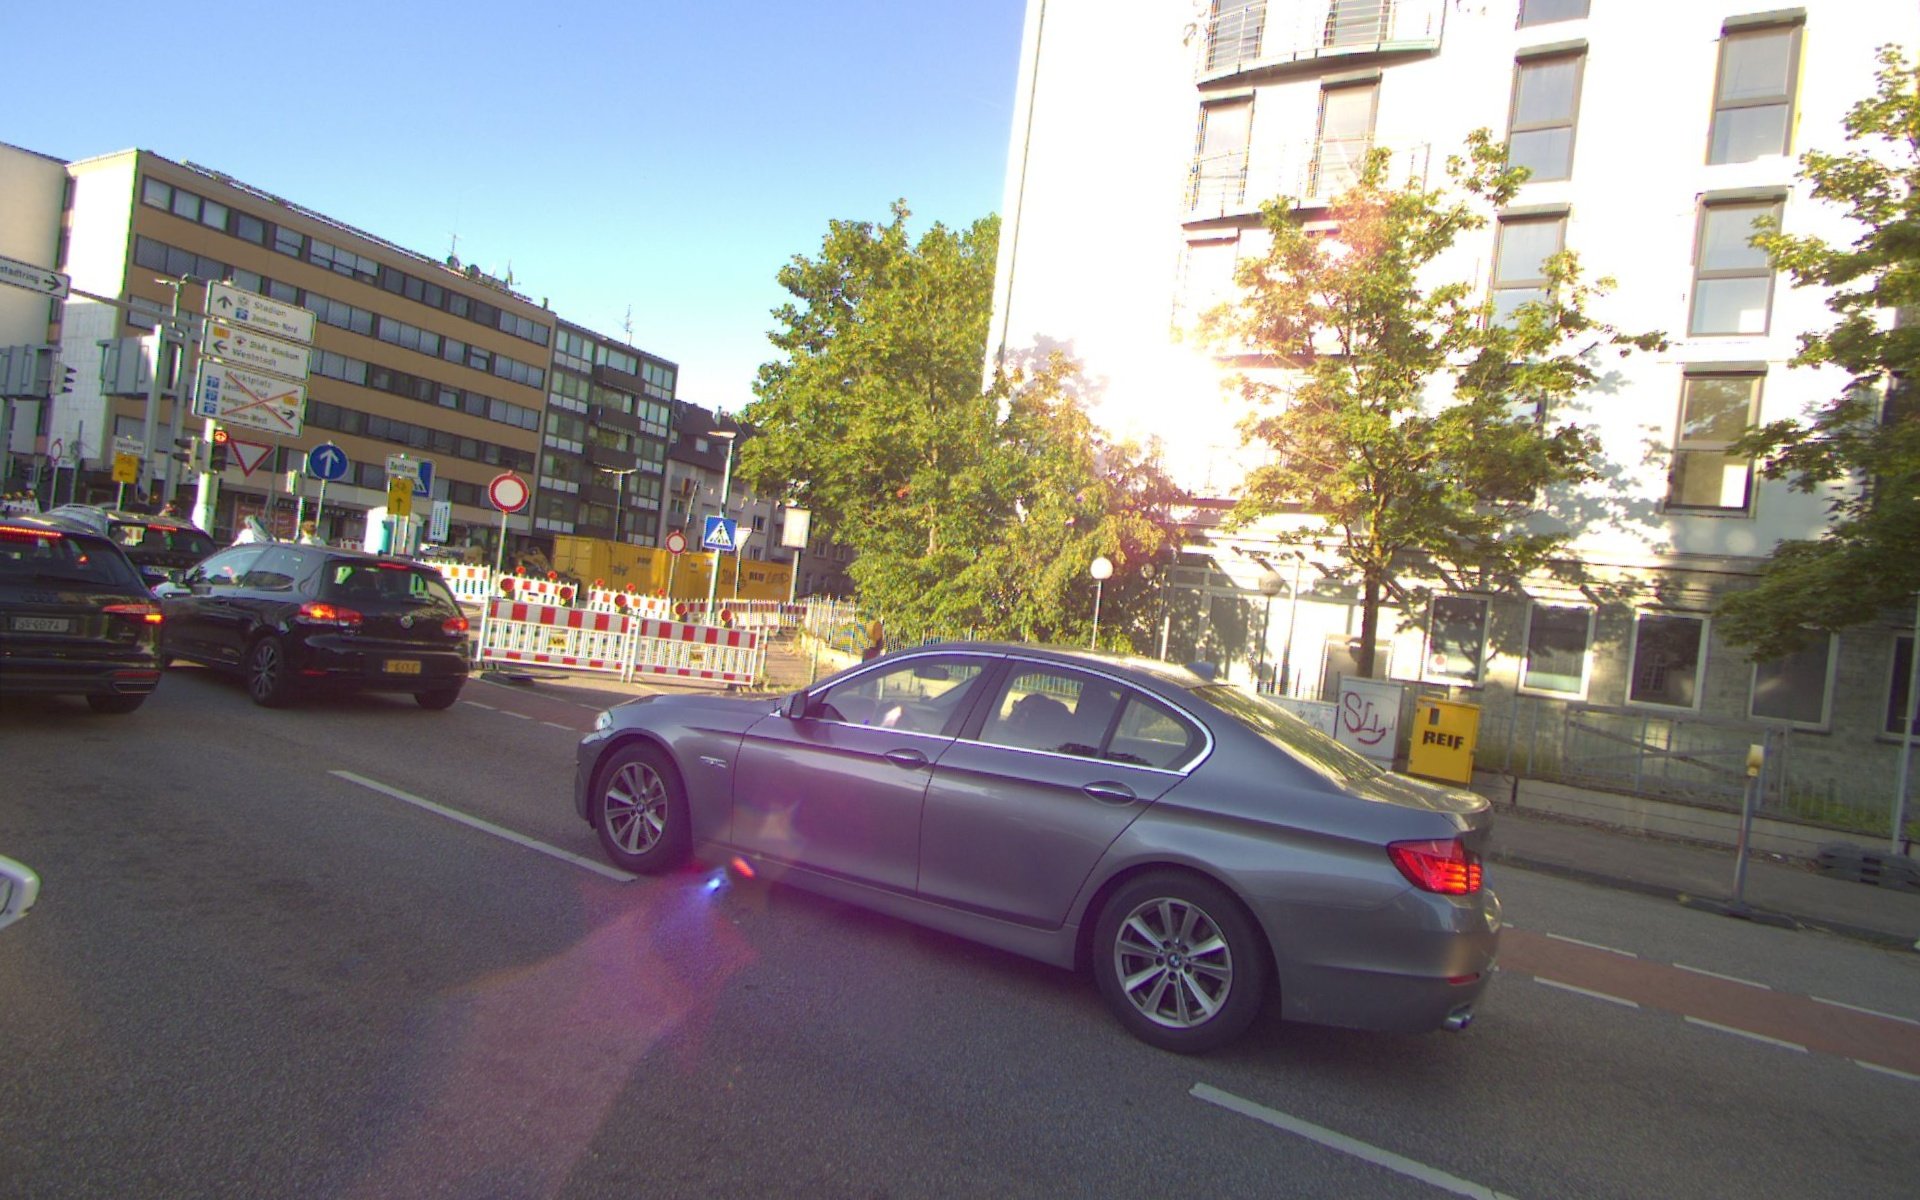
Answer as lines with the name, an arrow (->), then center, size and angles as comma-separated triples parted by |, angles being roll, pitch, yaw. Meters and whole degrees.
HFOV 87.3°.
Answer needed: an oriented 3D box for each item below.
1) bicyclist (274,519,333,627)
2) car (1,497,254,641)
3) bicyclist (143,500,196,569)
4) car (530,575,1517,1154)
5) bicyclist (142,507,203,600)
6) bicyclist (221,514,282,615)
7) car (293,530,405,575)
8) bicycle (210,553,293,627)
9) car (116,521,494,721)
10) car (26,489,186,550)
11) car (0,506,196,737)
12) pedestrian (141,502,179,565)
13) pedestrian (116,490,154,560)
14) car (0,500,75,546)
bicyclist -> -9.808, -0.404, 15.042 | 0.474, 1.544, 0.441 | 7, 0, 31
car -> -11.098, -0.429, 13.376 | 3.250, 1.466, 1.508 | 7, -2, 32
bicyclist -> -20.179, -1.668, 25.686 | 0.800, 1.608, 0.619 | 8, 0, 29
car -> 0.155, 0.910, 5.170 | 4.587, 1.466, 1.819 | 7, -1, 29
bicyclist -> -13.956, -0.824, 17.829 | 0.713, 1.544, 0.514 | 7, 0, 32
bicyclist -> -11.500, -0.569, 16.331 | 0.713, 1.544, 0.441 | 7, 0, 32
car -> -26.901, -2.061, 44.407 | 1.650, 1.435, 4.001 | 7, -1, 18
bicycle -> -11.481, -0.174, 16.285 | 1.825, 1.020, 0.337 | 7, 0, 32
car -> -6.614, 0.182, 10.079 | 3.683, 1.466, 1.637 | 7, -2, 32
car -> -30.544, -2.840, 36.128 | 1.650, 1.535, 4.001 | 7, -1, 20
car -> -7.669, -0.047, 7.474 | 4.144, 1.437, 1.685 | 7, -2, 32
pedestrian -> -22.686, -1.877, 28.543 | 0.447, 1.691, 0.602 | 7, 0, 33
pedestrian -> -22.940, -2.086, 27.973 | 0.479, 1.857, 0.570 | 7, 0, 34
car -> -34.250, -2.883, 35.688 | 1.696, 1.370, 3.827 | 7, -1, 25
